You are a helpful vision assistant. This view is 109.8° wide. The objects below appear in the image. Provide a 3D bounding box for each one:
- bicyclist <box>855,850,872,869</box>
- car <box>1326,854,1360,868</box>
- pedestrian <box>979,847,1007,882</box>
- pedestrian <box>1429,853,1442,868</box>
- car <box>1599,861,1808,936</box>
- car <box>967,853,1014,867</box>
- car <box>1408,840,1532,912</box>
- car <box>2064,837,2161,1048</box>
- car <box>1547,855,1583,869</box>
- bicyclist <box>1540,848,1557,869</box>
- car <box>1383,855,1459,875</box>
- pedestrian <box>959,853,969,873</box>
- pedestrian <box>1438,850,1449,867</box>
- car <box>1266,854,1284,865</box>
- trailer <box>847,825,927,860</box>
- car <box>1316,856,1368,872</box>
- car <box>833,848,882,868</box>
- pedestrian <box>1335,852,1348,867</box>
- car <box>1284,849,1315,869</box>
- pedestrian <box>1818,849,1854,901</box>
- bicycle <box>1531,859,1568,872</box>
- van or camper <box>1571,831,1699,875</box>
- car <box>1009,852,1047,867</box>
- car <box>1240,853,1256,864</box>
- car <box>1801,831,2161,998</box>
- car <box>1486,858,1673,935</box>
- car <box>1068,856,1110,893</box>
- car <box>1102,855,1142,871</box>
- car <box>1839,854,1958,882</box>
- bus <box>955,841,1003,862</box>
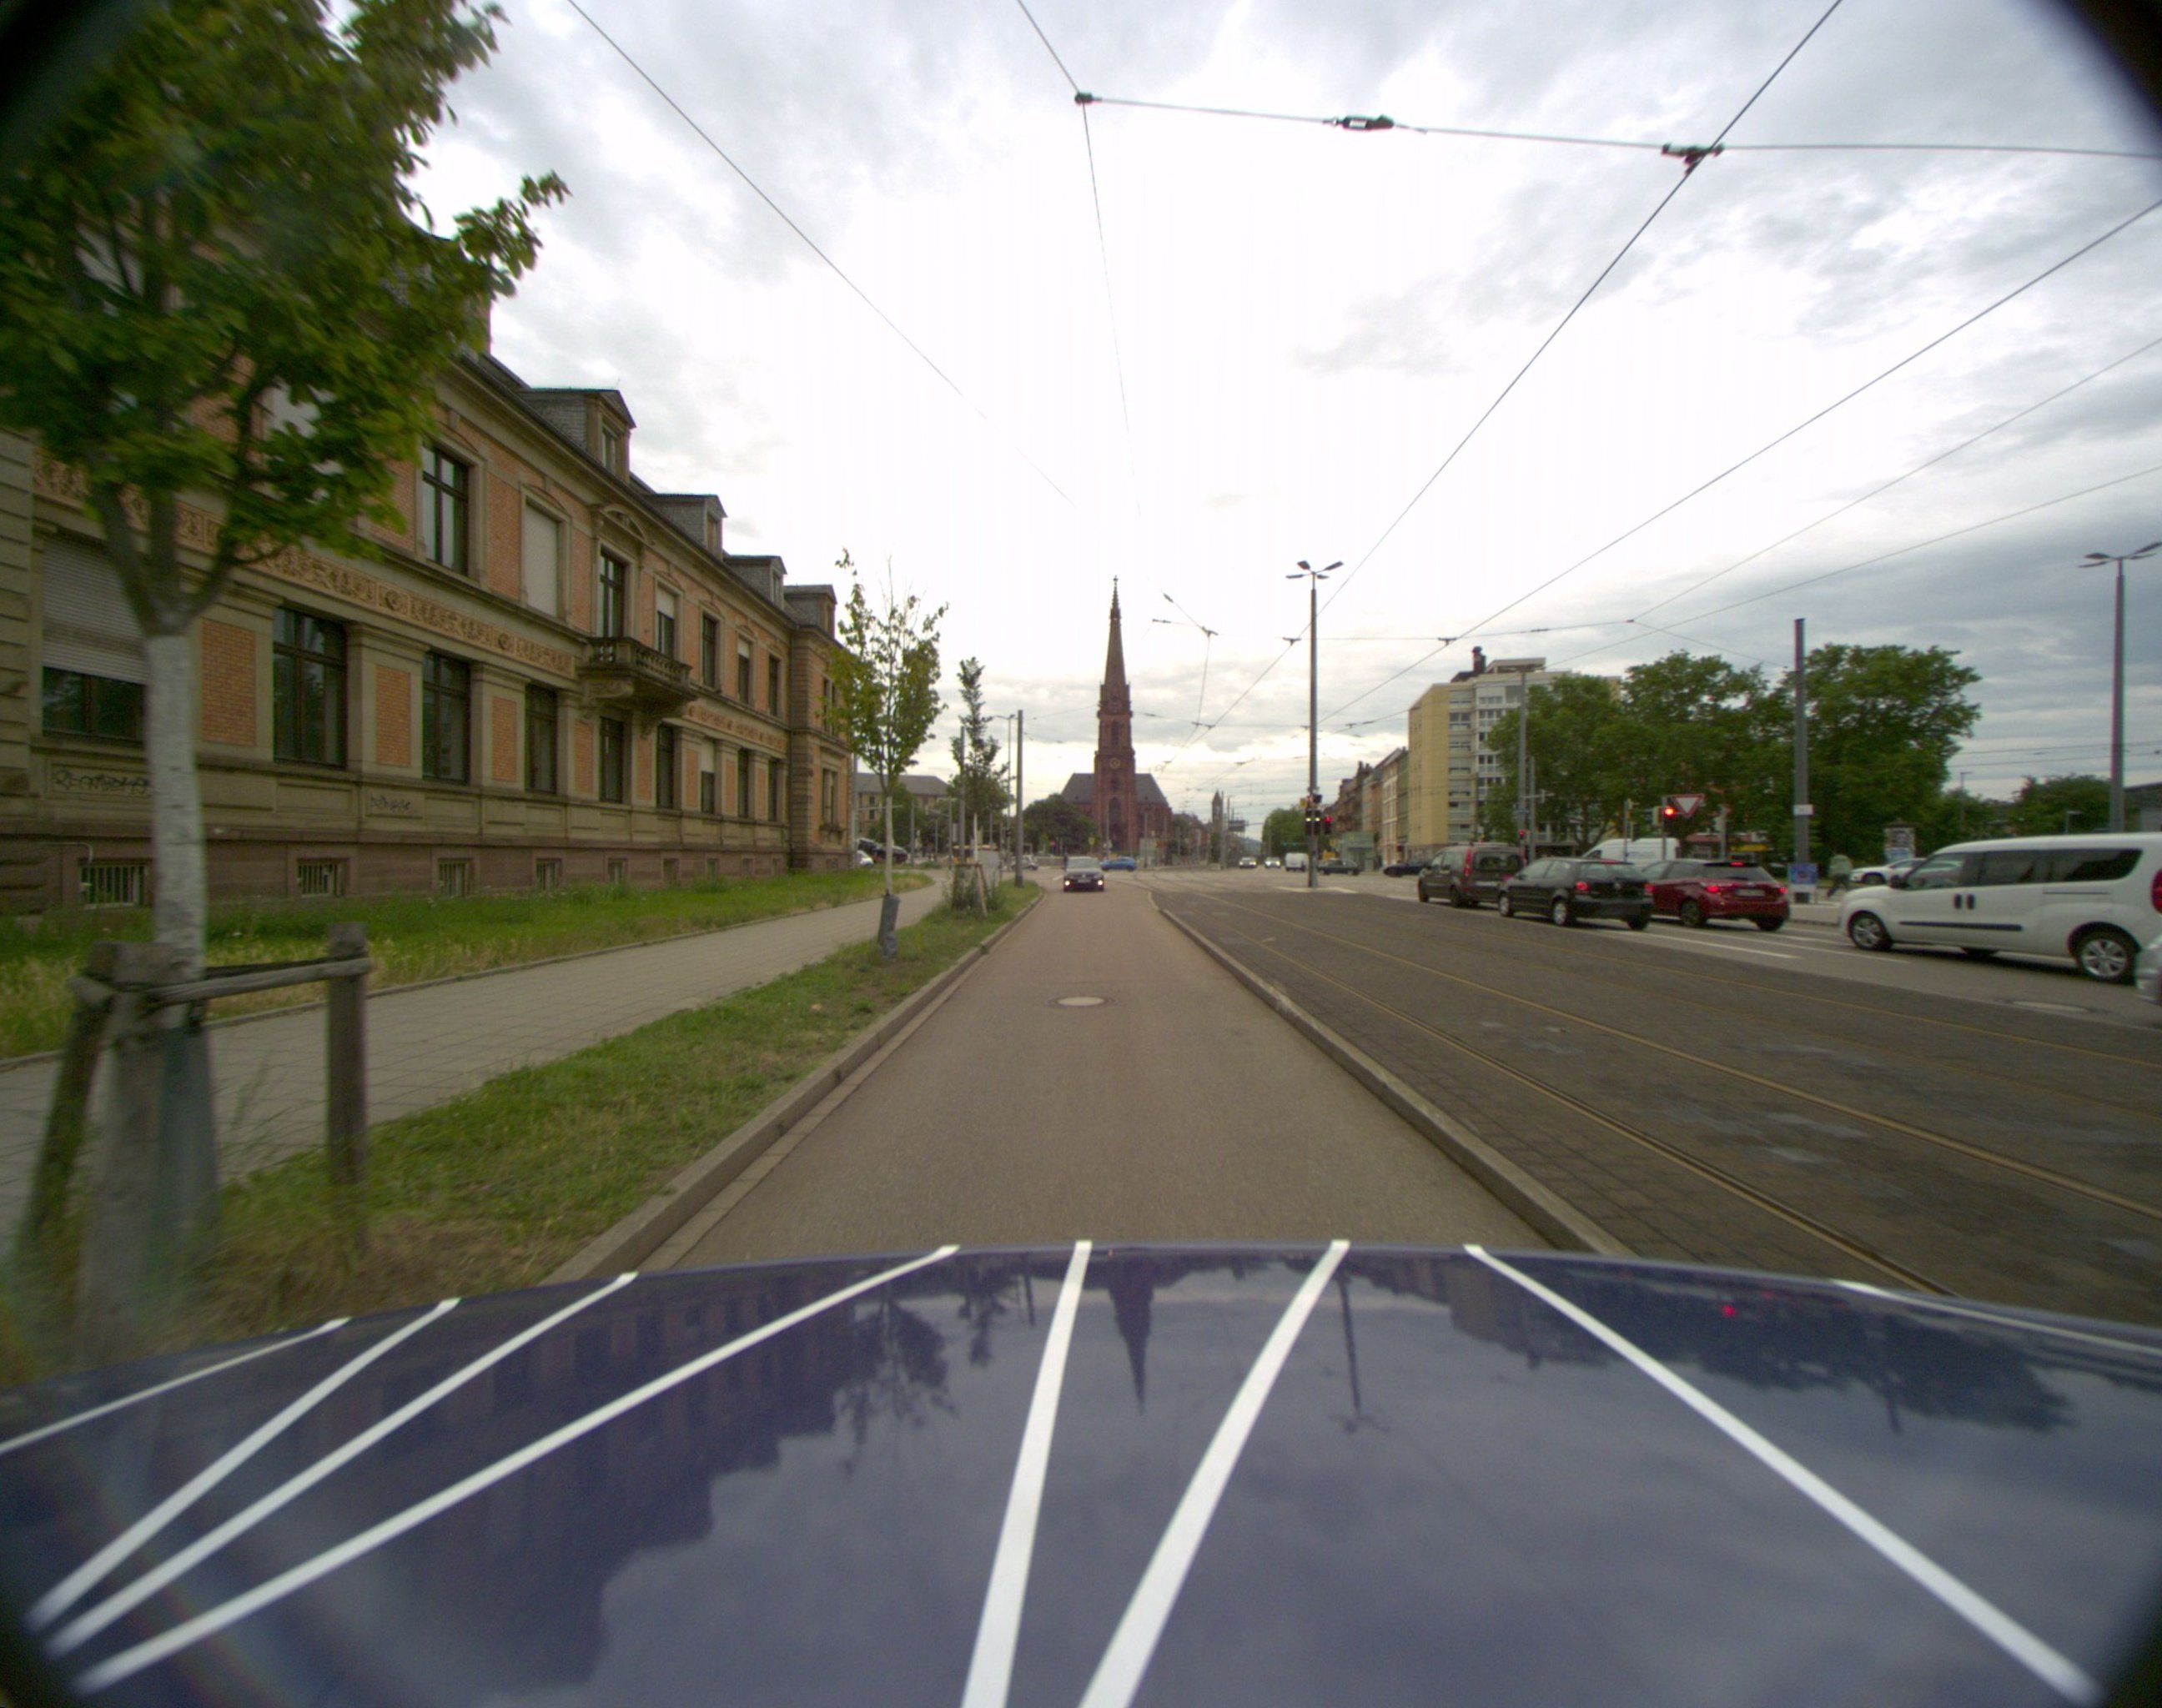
[{"bbox_3d":[-17.712,0.421,61.799,0.758,1.512,1.103,1,1,26],"label":"bicyclist"},{"bbox_3d":[35.636,0.928,103.271,4.004,1.745,2.077,-1,2,-21],"label":"car"},{"bbox_3d":[-4.808,0.542,41.372,0.889,1.856,1.282,0,1,-44],"label":"pedestrian"},{"bbox_3d":[40.628,0.754,87.129,1.039,1.630,1.332,0,0,10],"label":"pedestrian"},{"bbox_3d":[13.828,0.908,17.221,1.692,1.434,4.001,0,0,5],"label":"car"},{"bbox_3d":[-9.915,0.684,83.074,4.669,1.484,2.004,-1,-2,18],"label":"car"},{"bbox_3d":[11.185,0.566,22.219,1.692,1.889,4.388,0,1,5],"label":"car"},{"bbox_3d":[9.532,0.734,4.212,1.867,1.696,4.909,1,0,2],"label":"car"},{"bbox_3d":[54.434,0.848,85.473,1.997,1.543,4.003,0,0,10],"label":"car"},{"bbox_3d":[33.662,0.356,54.719,0.569,1.499,0.854,0,-1,-40],"label":"bicyclist"},{"bbox_3d":[24.590,0.779,55.076,2.004,1.412,4.648,0,0,-45],"label":"car"},{"bbox_3d":[-11.561,0.918,74.865,0.782,1.932,0.980,0,1,-22],"label":"pedestrian"},{"bbox_3d":[37.526,0.495,78.712,0.706,1.710,0.915,0,2,1],"label":"pedestrian"},{"bbox_3d":[25.820,0.717,101.280,1.997,1.433,4.003,0,0,11],"label":"car"},{"bbox_3d":[-22.848,-1.313,89.228,9.528,3.950,3.002,0,2,28],"label":"trailer"},{"bbox_3d":[21.334,0.821,62.249,3.727,1.239,1.695,0,0,33],"label":"car"},{"bbox_3d":[-21.855,0.383,74.252,4.511,1.930,2.004,0,0,28],"label":"car"},{"bbox_3d":[30.242,0.666,88.250,1.178,1.774,1.041,0,0,9],"label":"pedestrian"},{"bbox_3d":[22.738,0.472,78.939,1.918,1.872,5.098,1,2,30],"label":"car"},{"bbox_3d":[25.529,0.688,25.707,0.601,1.718,0.914,0,1,27],"label":"pedestrian"},{"bbox_3d":[33.706,0.810,54.726,0.521,0.921,2.217,0,0,-40],"label":"bicycle"},{"bbox_3d":[34.108,-0.111,46.952,2.428,2.596,6.033,-2,2,-44],"label":"van or camper"},{"bbox_3d":[-5.481,0.575,78.952,3.616,1.484,2.001,0,1,6],"label":"car"},{"bbox_3d":[22.349,0.569,101.681,1.997,1.433,4.003,0,0,11],"label":"car"},{"bbox_3d":[13.465,0.684,10.864,1.867,1.905,5.103,0,0,6],"label":"car"},{"bbox_3d":[10.598,0.821,16.551,1.692,1.434,4.001,0,0,5],"label":"car"},{"bbox_3d":[0.296,0.818,32.025,1.655,1.404,4.000,0,0,0],"label":"car"},{"bbox_3d":[4.147,0.911,76.814,4.054,1.483,2.002,0,-3,3],"label":"car"},{"bbox_3d":[43.692,0.726,40.705,1.644,1.412,4.258,0,0,-42],"label":"car"},{"bbox_3d":[-15.924,-0.514,117.741,2.869,3.060,11.989,-1,1,-30],"label":"bus"}]
